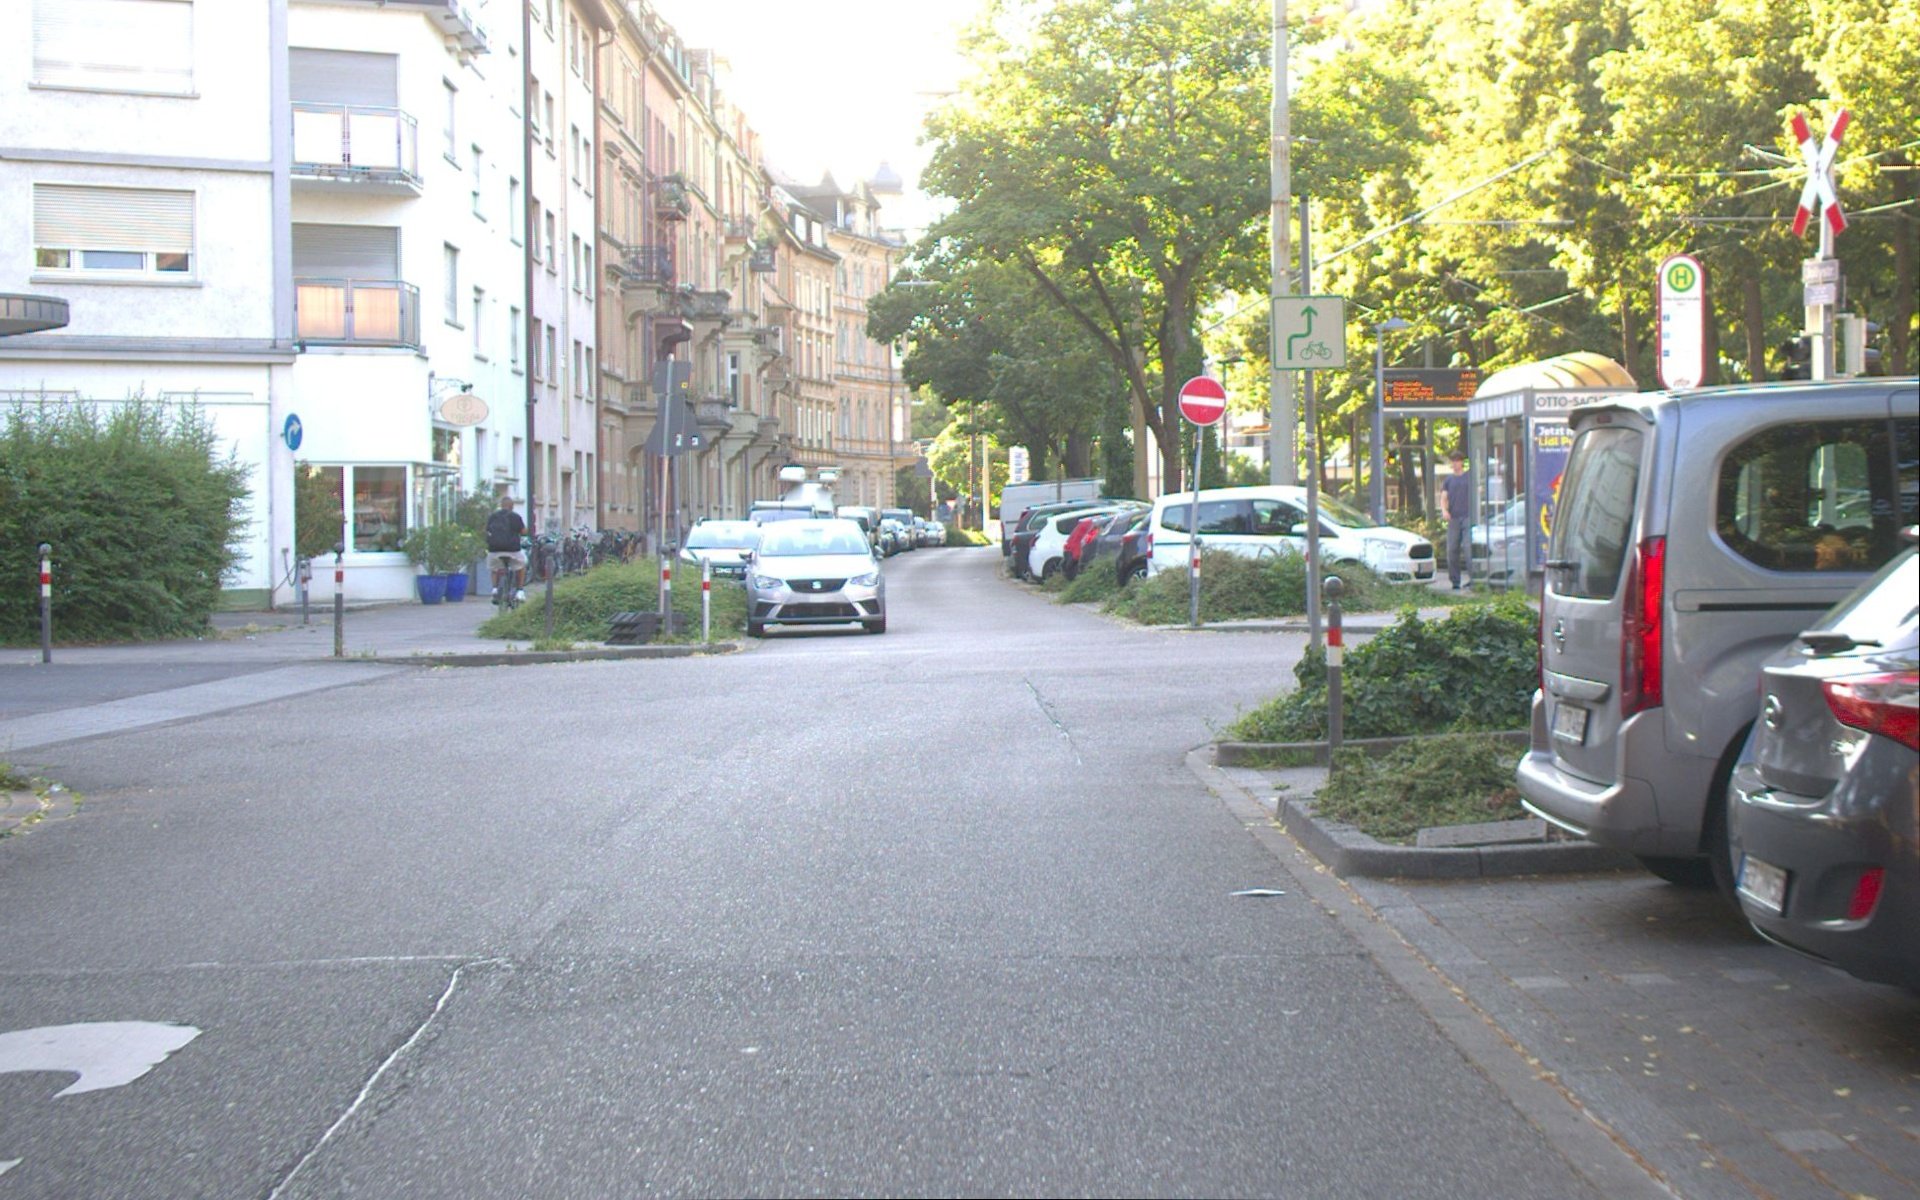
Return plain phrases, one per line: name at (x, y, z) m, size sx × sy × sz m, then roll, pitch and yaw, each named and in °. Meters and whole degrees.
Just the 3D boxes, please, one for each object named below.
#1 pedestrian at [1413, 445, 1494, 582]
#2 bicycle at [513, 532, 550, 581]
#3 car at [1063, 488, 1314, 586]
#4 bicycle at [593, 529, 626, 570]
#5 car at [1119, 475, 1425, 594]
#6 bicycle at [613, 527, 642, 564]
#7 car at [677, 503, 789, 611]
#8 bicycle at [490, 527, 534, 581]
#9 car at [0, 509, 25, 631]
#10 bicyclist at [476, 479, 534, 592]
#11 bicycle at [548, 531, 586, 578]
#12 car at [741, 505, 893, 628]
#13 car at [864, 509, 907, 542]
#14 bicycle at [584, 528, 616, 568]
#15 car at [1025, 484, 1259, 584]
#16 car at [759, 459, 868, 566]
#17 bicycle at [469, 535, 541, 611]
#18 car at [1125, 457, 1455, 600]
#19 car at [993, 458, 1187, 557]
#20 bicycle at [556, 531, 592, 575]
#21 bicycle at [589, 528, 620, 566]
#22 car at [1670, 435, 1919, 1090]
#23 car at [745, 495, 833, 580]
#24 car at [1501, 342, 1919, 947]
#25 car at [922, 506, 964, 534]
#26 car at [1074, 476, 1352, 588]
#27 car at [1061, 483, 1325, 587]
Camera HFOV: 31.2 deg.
pedestrian at (6.953, -1.223, 48.444) m, size 0.849 × 1.904 × 0.836 m, roll 0°, pitch 1°, yaw 30°
bicycle at (-9.088, -0.924, 72.913) m, size 0.531 × 1.000 × 2.176 m, roll -1°, pitch 2°, yaw -1°
car at (4.200, -1.156, 63.300) m, size 4.232 × 1.453 × 1.606 m, roll -4°, pitch 1°, yaw 24°
bicycle at (-8.897, -1.289, 87.299) m, size 0.626 × 1.000 × 2.176 m, roll -1°, pitch 2°, yaw -1°
car at (4.714, -0.985, 52.004) m, size 4.197 × 1.432 × 1.699 m, roll -4°, pitch 1°, yaw 25°
bicycle at (-9.282, -1.518, 95.885) m, size 0.626 × 1.000 × 2.176 m, roll -1°, pitch 2°, yaw -1°
car at (-3.712, -0.740, 56.677) m, size 1.710 × 1.667 × 4.001 m, roll -2°, pitch 2°, yaw -3°
bicycle at (-8.632, -0.890, 66.321) m, size 0.531 × 1.000 × 2.176 m, roll -1°, pitch 2°, yaw 0°
car at (-13.963, -0.338, 42.965) m, size 3.987 × 1.527 × 2.000 m, roll -2°, pitch 2°, yaw -31°
bicyclist at (-6.587, -0.943, 49.773) m, size 0.712 × 1.611 × 0.724 m, roll -1°, pitch 1°, yaw 0°
bicycle at (-8.776, -1.019, 76.885) m, size 0.626 × 1.000 × 2.176 m, roll -1°, pitch 2°, yaw -1°
car at (-1.861, -0.462, 43.842) m, size 1.710 × 1.441 × 4.001 m, roll -2°, pitch 2°, yaw -5°
car at (-3.466, -3.503, 160.540) m, size 1.711 × 1.441 × 4.000 m, roll -2°, pitch 2°, yaw 2°
bicycle at (-9.447, -1.377, 90.281) m, size 0.626 × 1.000 × 2.176 m, roll -1°, pitch 2°, yaw -1°
car at (3.627, -1.310, 68.733) m, size 4.236 × 1.645 × 1.854 m, roll -4°, pitch 1°, yaw 36°
car at (-4.135, -2.505, 98.059) m, size 2.552 × 2.877 × 5.481 m, roll -2°, pitch 2°, yaw 2°
bicycle at (-6.575, -0.400, 49.814) m, size 0.712 × 1.047 × 2.348 m, roll -1°, pitch 2°, yaw 0°
car at (4.618, -0.993, 48.316) m, size 4.234 × 1.647 × 1.605 m, roll -4°, pitch 1°, yaw 31°
car at (3.963, -2.813, 104.646) m, size 5.259 × 2.563 × 2.270 m, roll -4°, pitch 1°, yaw 28°
bicycle at (-9.023, -1.108, 80.421) m, size 0.626 × 1.000 × 2.176 m, roll -1°, pitch 2°, yaw -1°
bicycle at (-9.572, -1.440, 92.674) m, size 0.626 × 1.000 × 2.176 m, roll -1°, pitch 2°, yaw -1°
car at (4.352, 0.345, 9.136) m, size 4.539 × 1.567 × 1.950 m, roll -1°, pitch 1°, yaw 2°
car at (-4.085, -1.519, 82.677) m, size 1.711 × 1.926 × 4.000 m, roll -2°, pitch 2°, yaw 2°
car at (4.281, 0.105, 11.847) m, size 4.539 × 1.908 × 1.950 m, roll -1°, pitch 1°, yaw 2°
car at (-0.947, -4.411, 189.308) m, size 1.711 × 1.441 × 3.999 m, roll -2°, pitch 2°, yaw 8°
car at (4.206, -1.134, 57.292) m, size 4.232 × 1.502 × 1.606 m, roll -4°, pitch 1°, yaw 24°
car at (4.092, -1.138, 60.423) m, size 4.232 × 1.453 × 1.606 m, roll -4°, pitch 1°, yaw 24°
